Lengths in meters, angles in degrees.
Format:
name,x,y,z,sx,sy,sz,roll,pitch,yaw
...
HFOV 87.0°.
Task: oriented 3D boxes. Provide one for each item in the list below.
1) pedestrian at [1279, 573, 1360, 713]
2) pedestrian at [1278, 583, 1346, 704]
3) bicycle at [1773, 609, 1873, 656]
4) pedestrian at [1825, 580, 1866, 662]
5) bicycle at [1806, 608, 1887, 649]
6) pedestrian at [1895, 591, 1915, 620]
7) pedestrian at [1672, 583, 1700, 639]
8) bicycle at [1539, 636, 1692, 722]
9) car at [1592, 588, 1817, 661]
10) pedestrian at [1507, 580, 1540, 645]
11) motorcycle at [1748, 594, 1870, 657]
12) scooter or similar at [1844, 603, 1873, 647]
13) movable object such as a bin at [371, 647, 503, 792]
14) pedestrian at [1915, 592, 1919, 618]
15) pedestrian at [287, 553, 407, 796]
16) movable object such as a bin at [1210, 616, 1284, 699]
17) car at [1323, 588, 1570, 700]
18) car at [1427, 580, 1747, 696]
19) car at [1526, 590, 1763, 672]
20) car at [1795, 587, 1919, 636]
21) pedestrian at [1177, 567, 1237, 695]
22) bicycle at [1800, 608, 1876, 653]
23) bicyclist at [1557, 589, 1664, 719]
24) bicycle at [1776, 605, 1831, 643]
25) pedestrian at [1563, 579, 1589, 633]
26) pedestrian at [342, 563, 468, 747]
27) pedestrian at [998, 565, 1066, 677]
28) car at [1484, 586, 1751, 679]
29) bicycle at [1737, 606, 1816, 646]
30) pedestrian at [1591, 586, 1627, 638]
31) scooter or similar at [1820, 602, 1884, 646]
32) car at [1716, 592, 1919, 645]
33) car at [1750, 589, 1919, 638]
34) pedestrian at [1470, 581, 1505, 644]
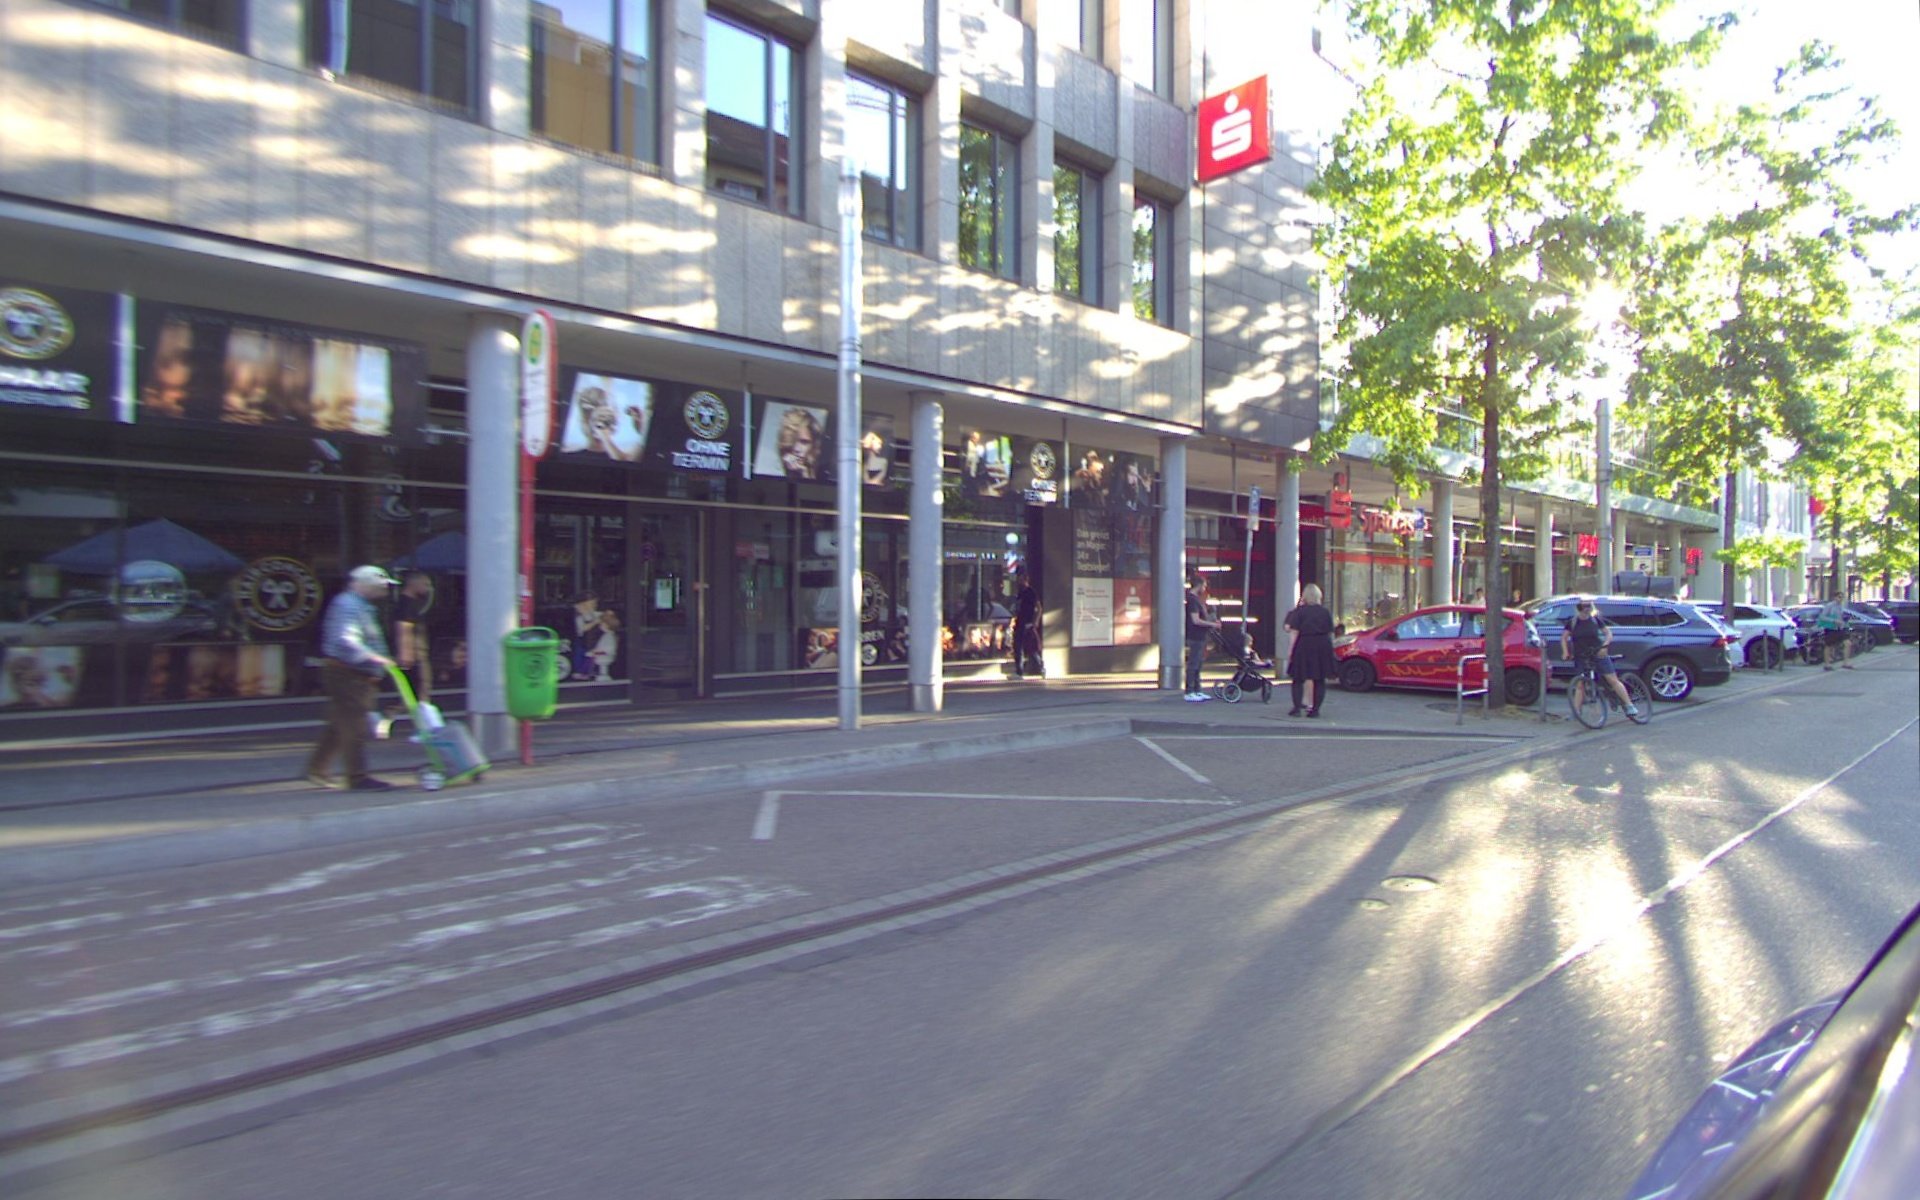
name,x,y,z,sx,sy,sz,roll,pitch,yaw
pedestrian,4.550,0.526,12.844,0.682,1.706,0.682,1,1,-7
pedestrian,4.747,0.566,13.686,0.677,1.571,0.607,2,1,3
bicycle,23.246,0.862,27.292,1.873,1.133,0.663,2,2,21
pedestrian,21.447,0.499,24.523,0.651,1.942,0.584,0,2,-39
bicycle,26.374,0.833,30.140,1.544,1.102,0.864,3,1,19
pedestrian,63.039,0.374,67.483,0.901,1.921,0.836,0,1,-39
pedestrian,22.702,0.332,31.649,0.677,1.718,0.543,0,-1,37
bicycle,8.509,0.990,13.121,2.017,1.008,0.721,0,-2,-27
car,18.585,0.565,25.494,4.102,1.591,1.845,2,2,17
pedestrian,15.669,0.335,28.133,0.589,1.765,0.625,0,1,-42
motorcycle,22.070,0.649,26.359,2.278,1.528,0.858,2,2,6
scooter or similar,27.586,0.762,31.075,1.284,1.291,0.451,0,4,-42
movable object such as a bin,-3.733,0.816,7.216,0.705,0.936,0.691,0,-2,-41
pedestrian,68.195,0.344,71.747,0.624,1.854,0.689,0,0,-41
pedestrian,-4.311,0.494,7.114,0.621,1.593,0.682,0,-2,-40
movable object such as a bin,4.042,0.799,14.321,0.818,1.077,0.689,2,1,1
car,7.729,0.620,16.189,3.370,1.499,1.650,3,2,30
car,10.533,0.571,17.384,4.299,1.672,1.685,2,2,18
car,15.098,0.630,22.611,4.118,1.517,1.674,3,2,26
car,37.162,0.464,41.046,4.610,1.785,1.982,3,2,20
pedestrian,3.487,0.415,14.325,0.621,1.753,0.689,2,1,1
bicycle,24.835,0.867,28.640,1.662,1.177,0.481,2,2,-1
bicyclist,8.501,0.683,13.242,0.894,1.634,0.781,0,-2,-27
bicycle,27.319,0.764,32.806,0.543,1.121,1.843,2,2,13
pedestrian,20.964,0.197,34.448,0.515,1.772,0.558,0,2,-41
pedestrian,-5.179,0.479,9.442,0.909,1.609,0.697,0,-1,-41
pedestrian,1.188,0.334,16.812,0.768,1.807,0.846,0,-1,-40
car,13.321,0.602,20.831,4.194,1.607,1.874,2,2,18
bicycle,24.757,0.786,30.725,1.653,1.088,0.728,3,1,19
pedestrian,20.971,0.386,32.697,0.866,1.644,0.715,0,1,-40
scooter or similar,28.110,0.749,31.910,1.289,1.291,0.561,3,3,18
car,29.539,0.592,34.987,4.986,1.487,1.970,3,2,14
car,34.159,0.479,39.690,4.620,1.675,1.991,3,2,26
pedestrian,14.889,0.340,28.564,0.588,1.765,0.626,0,1,-35
